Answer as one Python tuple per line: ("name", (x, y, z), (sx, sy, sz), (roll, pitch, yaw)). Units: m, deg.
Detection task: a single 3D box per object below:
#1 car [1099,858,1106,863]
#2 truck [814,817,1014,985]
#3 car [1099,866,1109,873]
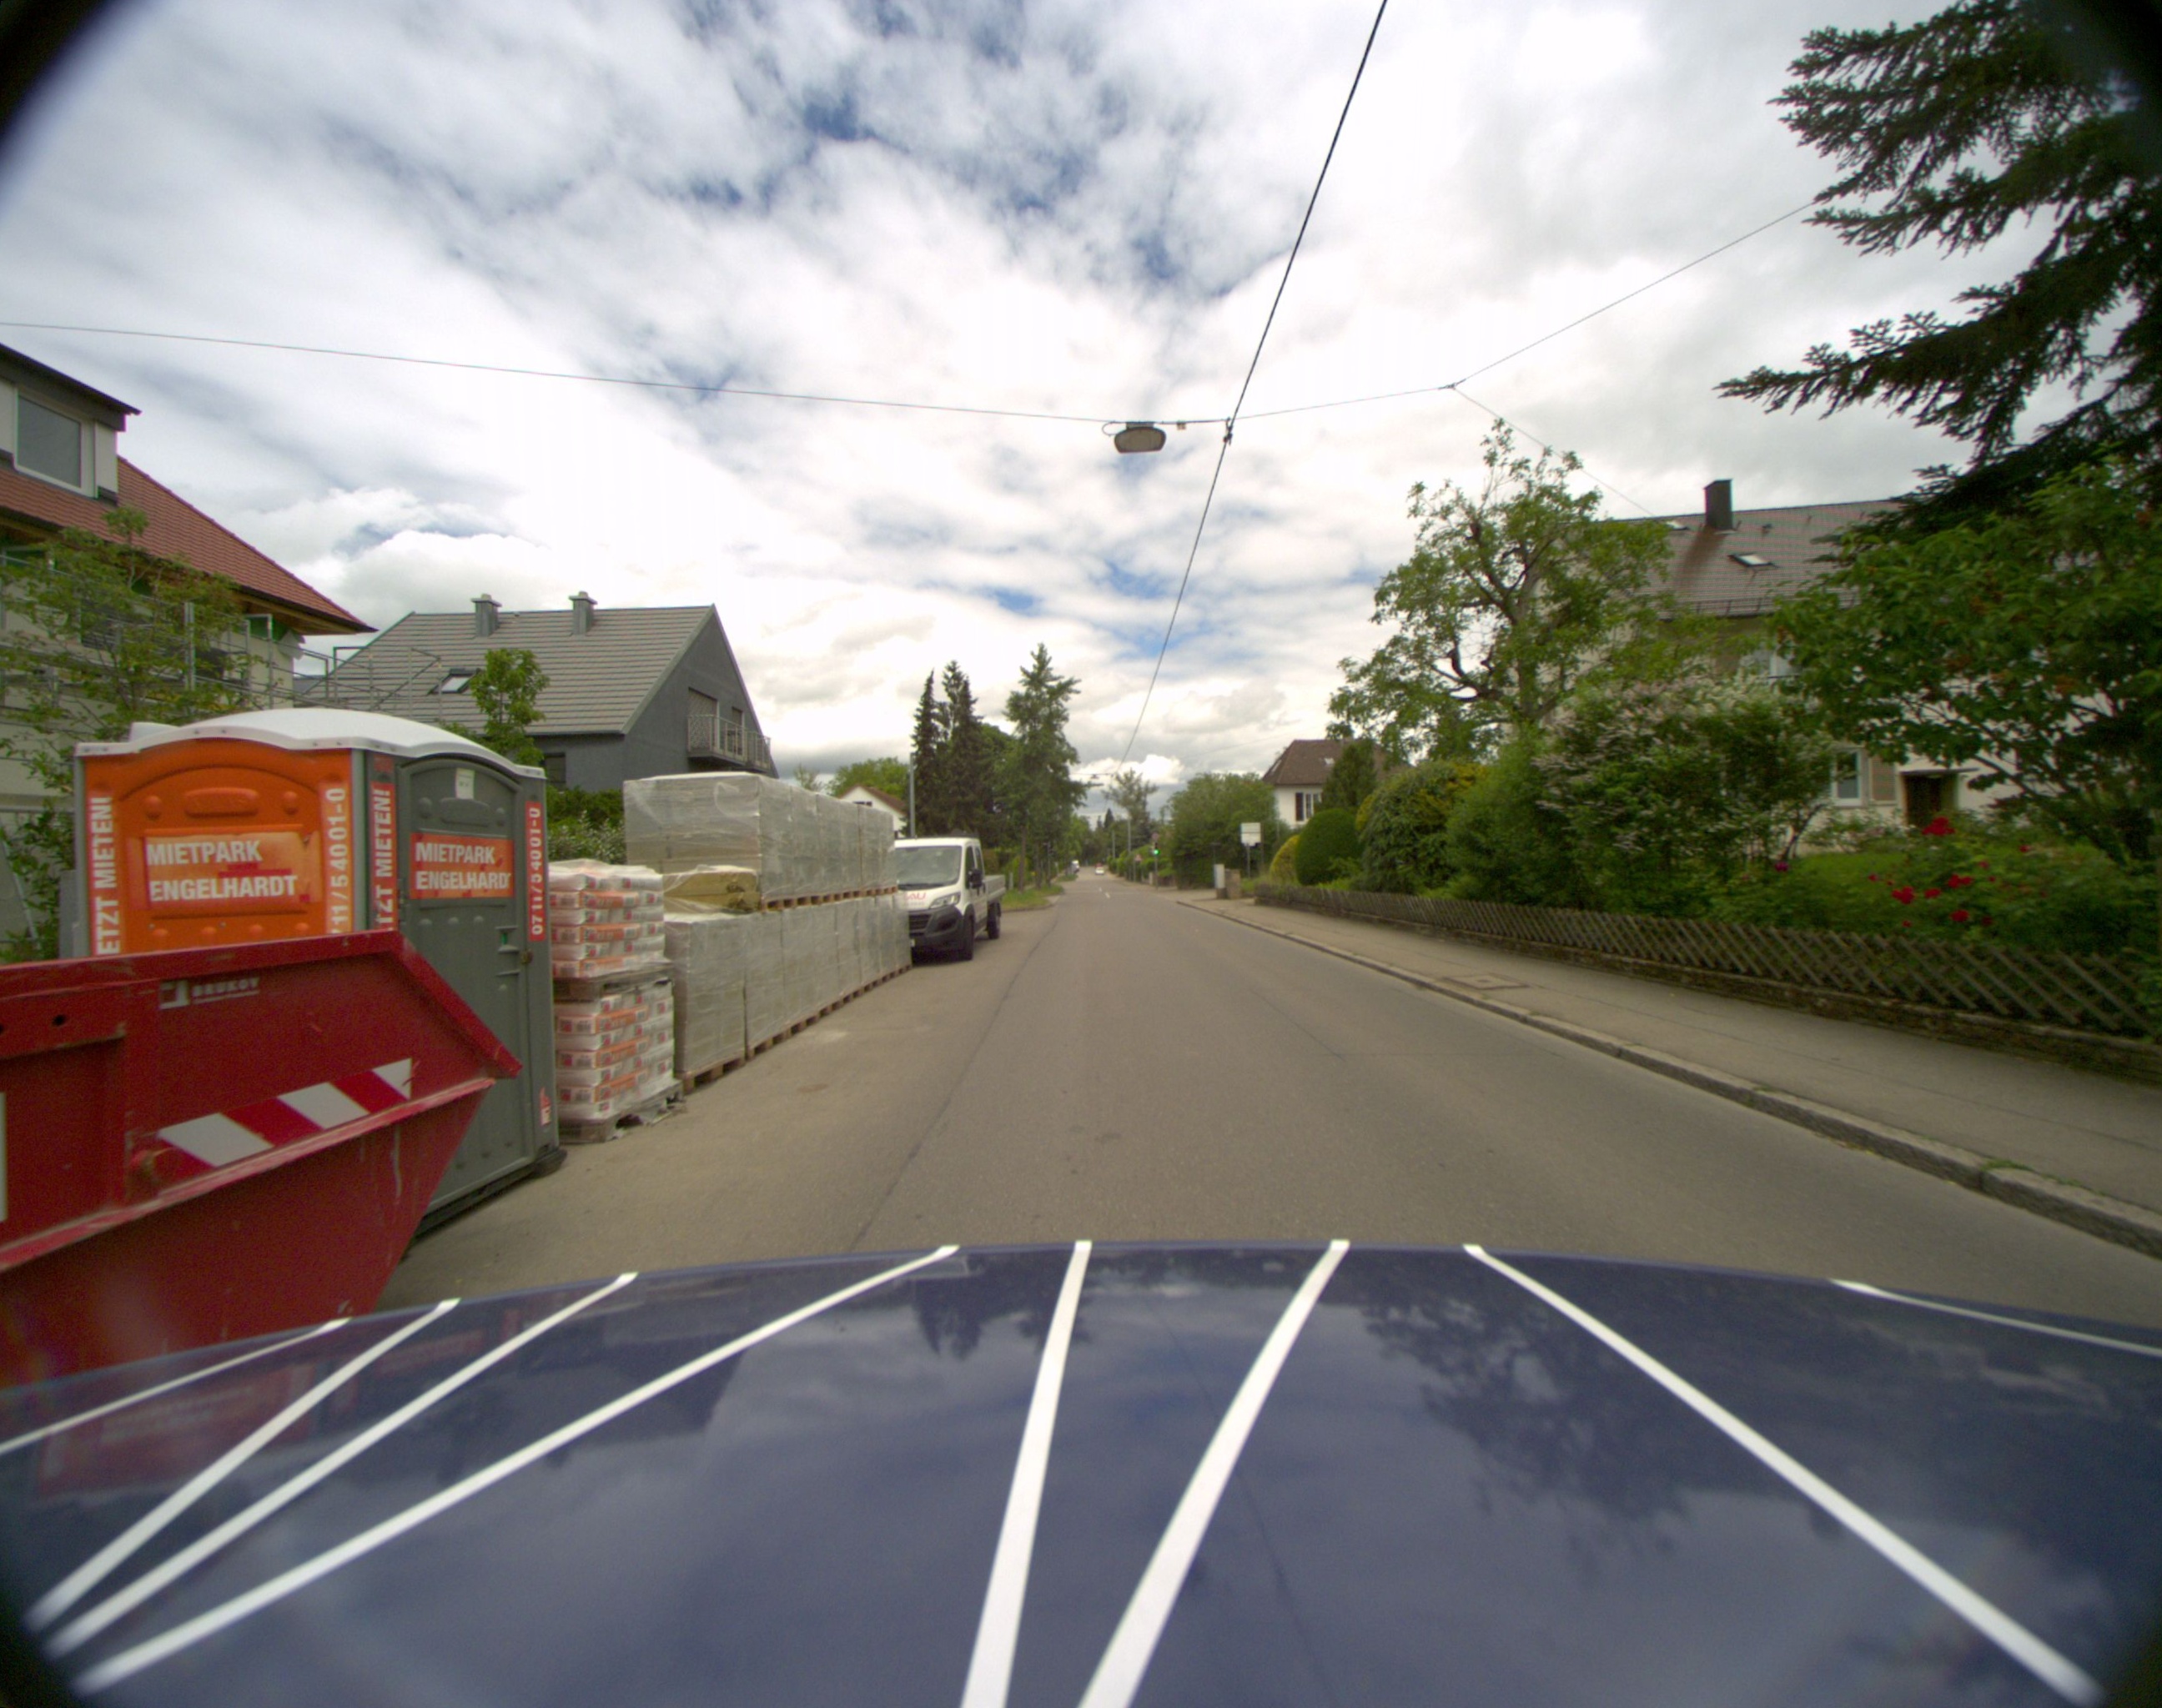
("car", (6.208, 1.790, 216.884), (1.810, 1.423, 4.118), (-1, 0, 0))
("truck", (-2.877, 0.762, 15.303), (2.193, 2.457, 7.431), (-3, -1, 1))
("car", (4.746, 3.290, 158.427), (1.859, 1.442, 4.282), (0, -1, -1))
